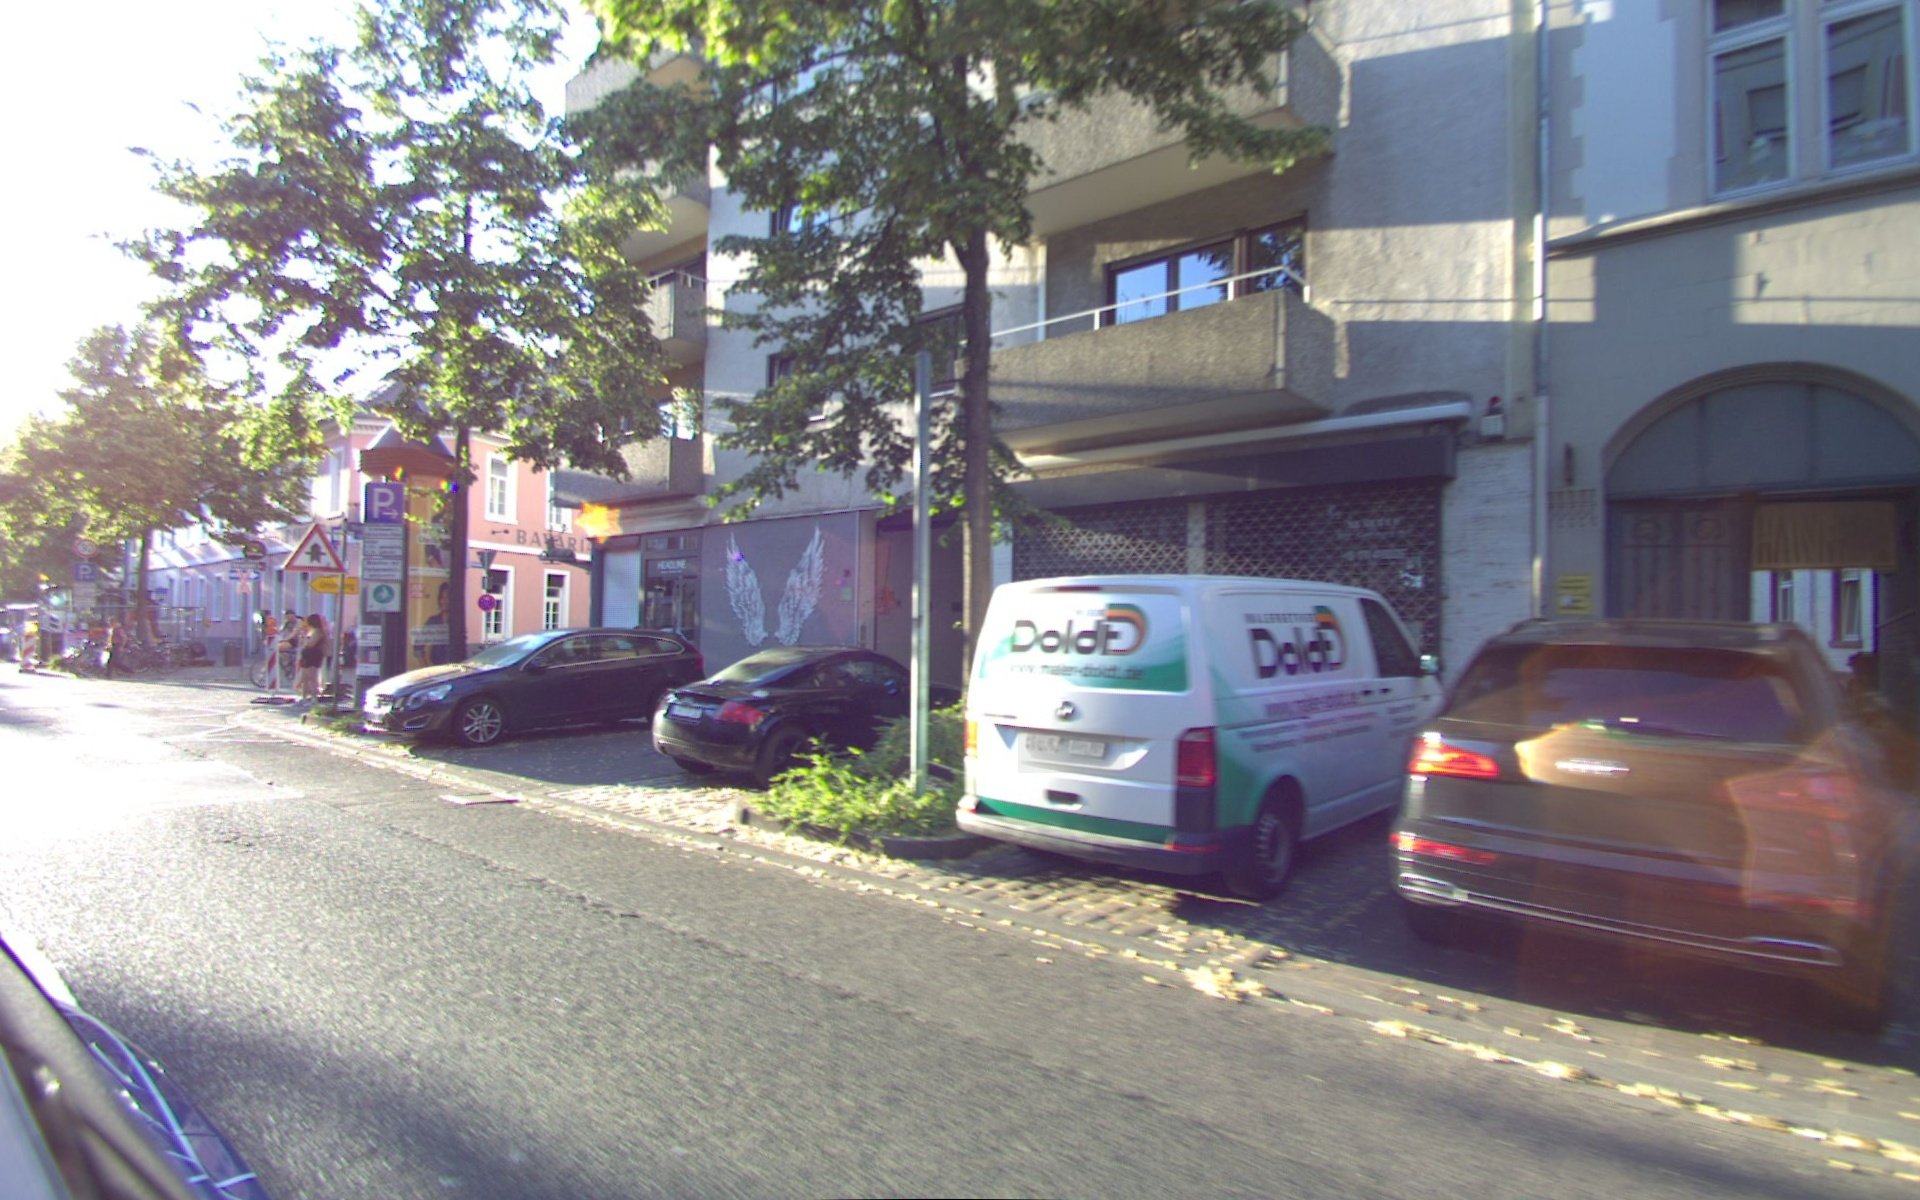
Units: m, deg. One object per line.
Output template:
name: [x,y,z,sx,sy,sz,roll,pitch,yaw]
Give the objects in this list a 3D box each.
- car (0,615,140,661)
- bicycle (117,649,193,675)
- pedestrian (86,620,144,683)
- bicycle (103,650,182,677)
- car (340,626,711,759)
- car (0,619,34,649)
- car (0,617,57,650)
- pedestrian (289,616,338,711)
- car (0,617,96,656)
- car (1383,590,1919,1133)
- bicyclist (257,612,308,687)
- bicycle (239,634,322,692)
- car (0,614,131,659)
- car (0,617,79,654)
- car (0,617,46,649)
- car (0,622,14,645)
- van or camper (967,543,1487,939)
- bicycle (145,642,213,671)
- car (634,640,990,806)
car: [-37.482,1.567,42.548,1.813,1.857,4.382,-1,-2,40]
bicycle: [-24.487,1.870,30.812,1.769,0.771,0.408,2,-2,-36]
pedestrian: [-23.468,1.418,28.113,0.787,1.693,0.895,0,-2,5]
bicycle: [-24.040,1.864,29.788,1.769,0.771,0.408,2,-2,-36]
car: [-5.816,1.128,14.011,1.813,1.536,4.382,-1,-2,40]
car: [-58.072,1.995,60.268,1.826,1.795,4.098,-1,-3,41]
car: [-54.505,1.891,57.624,1.813,1.857,4.382,-1,-2,40]
pedestrian: [-11.569,1.120,18.102,0.721,1.660,0.542,-1,-3,44]
car: [-44.778,1.739,48.911,1.813,1.857,4.382,-1,-2,40]
car: [3.835,0.877,5.207,1.732,1.681,4.137,0,-2,43]
bicyclist: [-16.619,1.198,24.840,0.532,1.807,0.867,0,-2,16]
bicycle: [-16.623,1.512,24.810,0.402,1.353,1.821,0,-2,16]
car: [-39.441,1.578,44.481,1.813,1.857,4.382,-1,-2,40]
car: [-47.992,1.802,51.611,1.813,1.857,4.382,-1,-2,40]
car: [-56.149,1.922,58.759,1.813,1.857,4.382,-1,-2,40]
car: [-64.132,2.148,65.455,1.825,1.489,4.099,-1,-3,40]
van or camper: [2.189,0.781,7.305,1.789,1.971,4.410,-1,-3,42]
bicycle: [-25.034,1.800,32.457,0.441,0.870,1.789,0,-2,17]
car: [-1.428,1.154,10.700,1.513,1.424,3.535,0,-2,43]
